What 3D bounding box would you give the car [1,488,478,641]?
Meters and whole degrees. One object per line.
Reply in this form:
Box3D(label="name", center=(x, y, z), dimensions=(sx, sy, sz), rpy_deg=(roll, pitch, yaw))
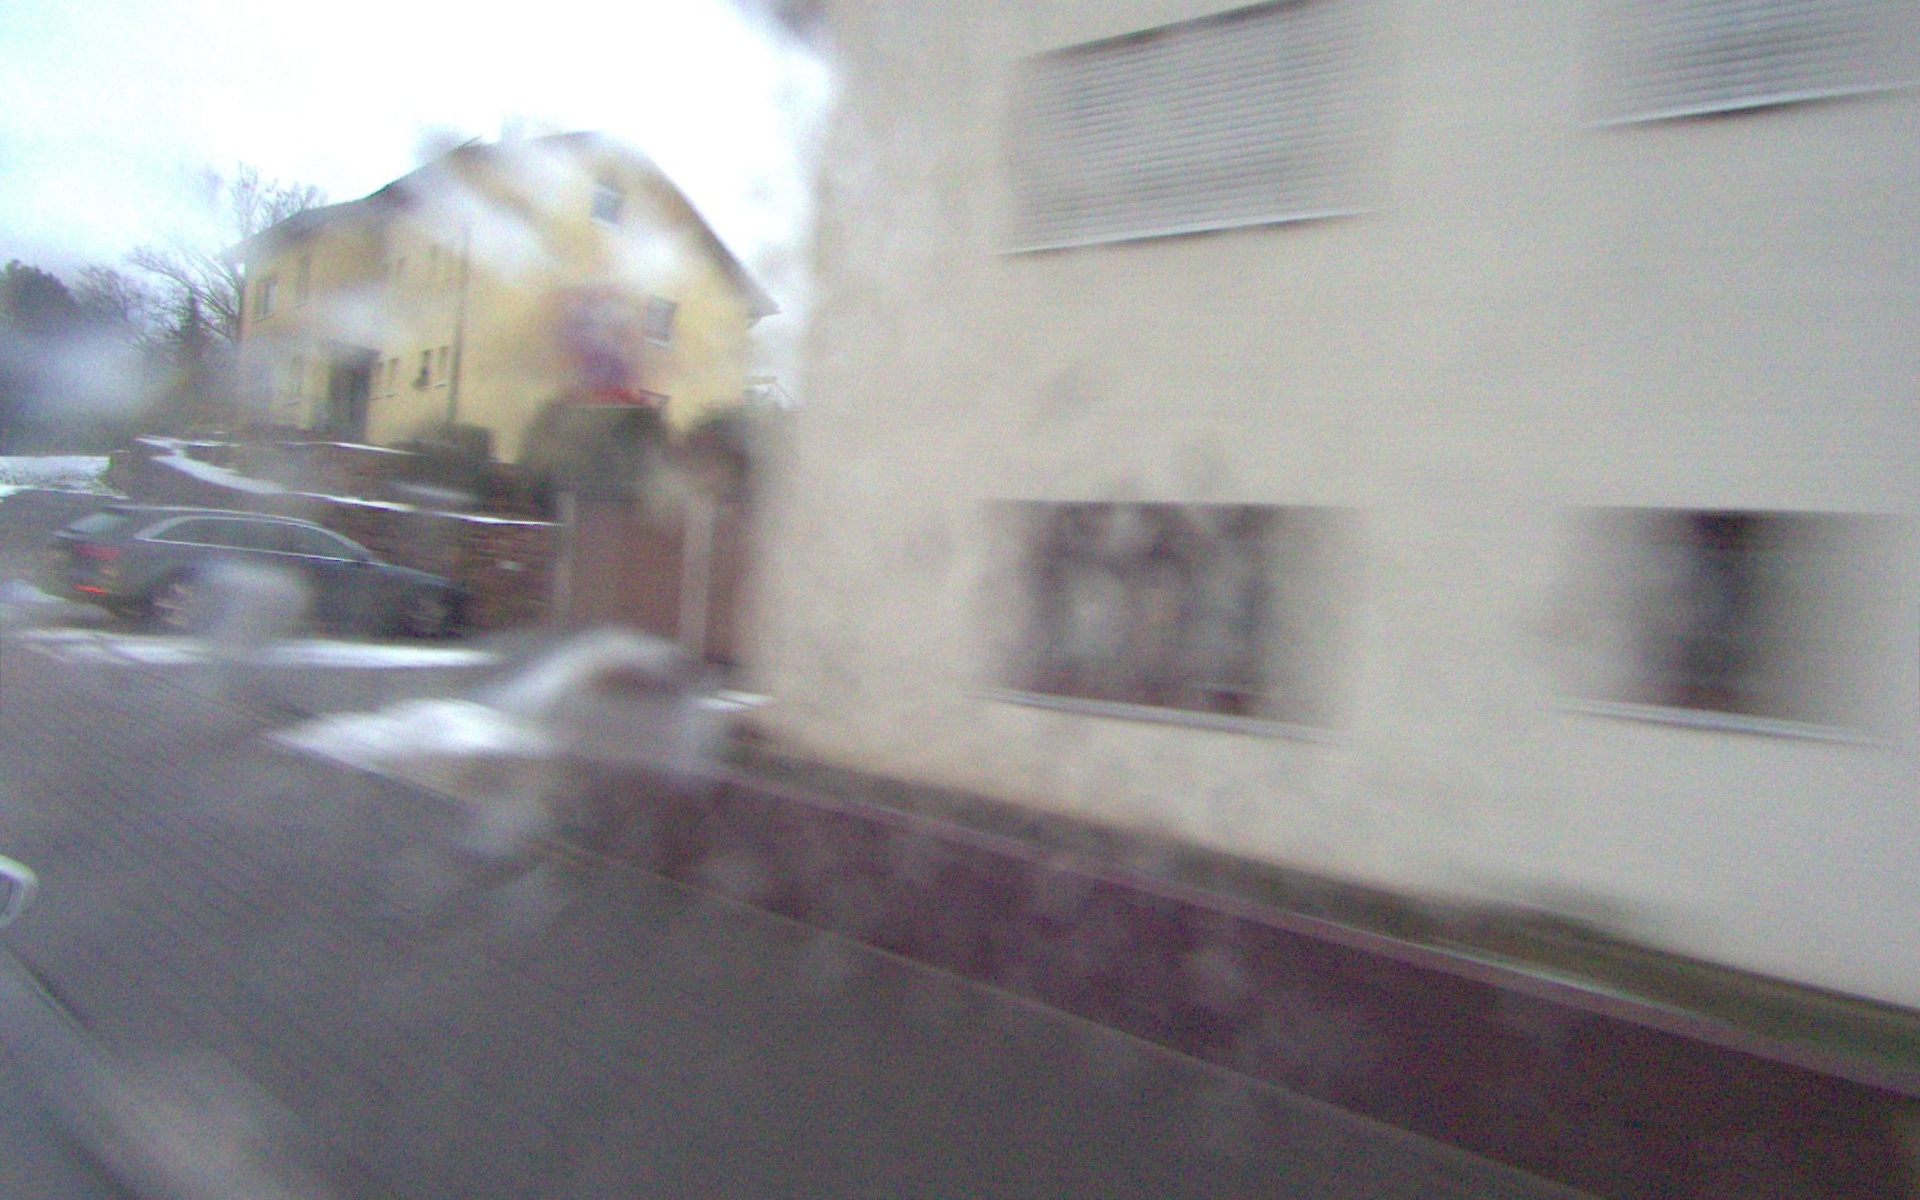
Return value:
Box3D(label="car", center=(-8.885, -0.349, 12.830), dimensions=(1.968, 1.462, 4.504), rpy_deg=(7, 1, 34))
